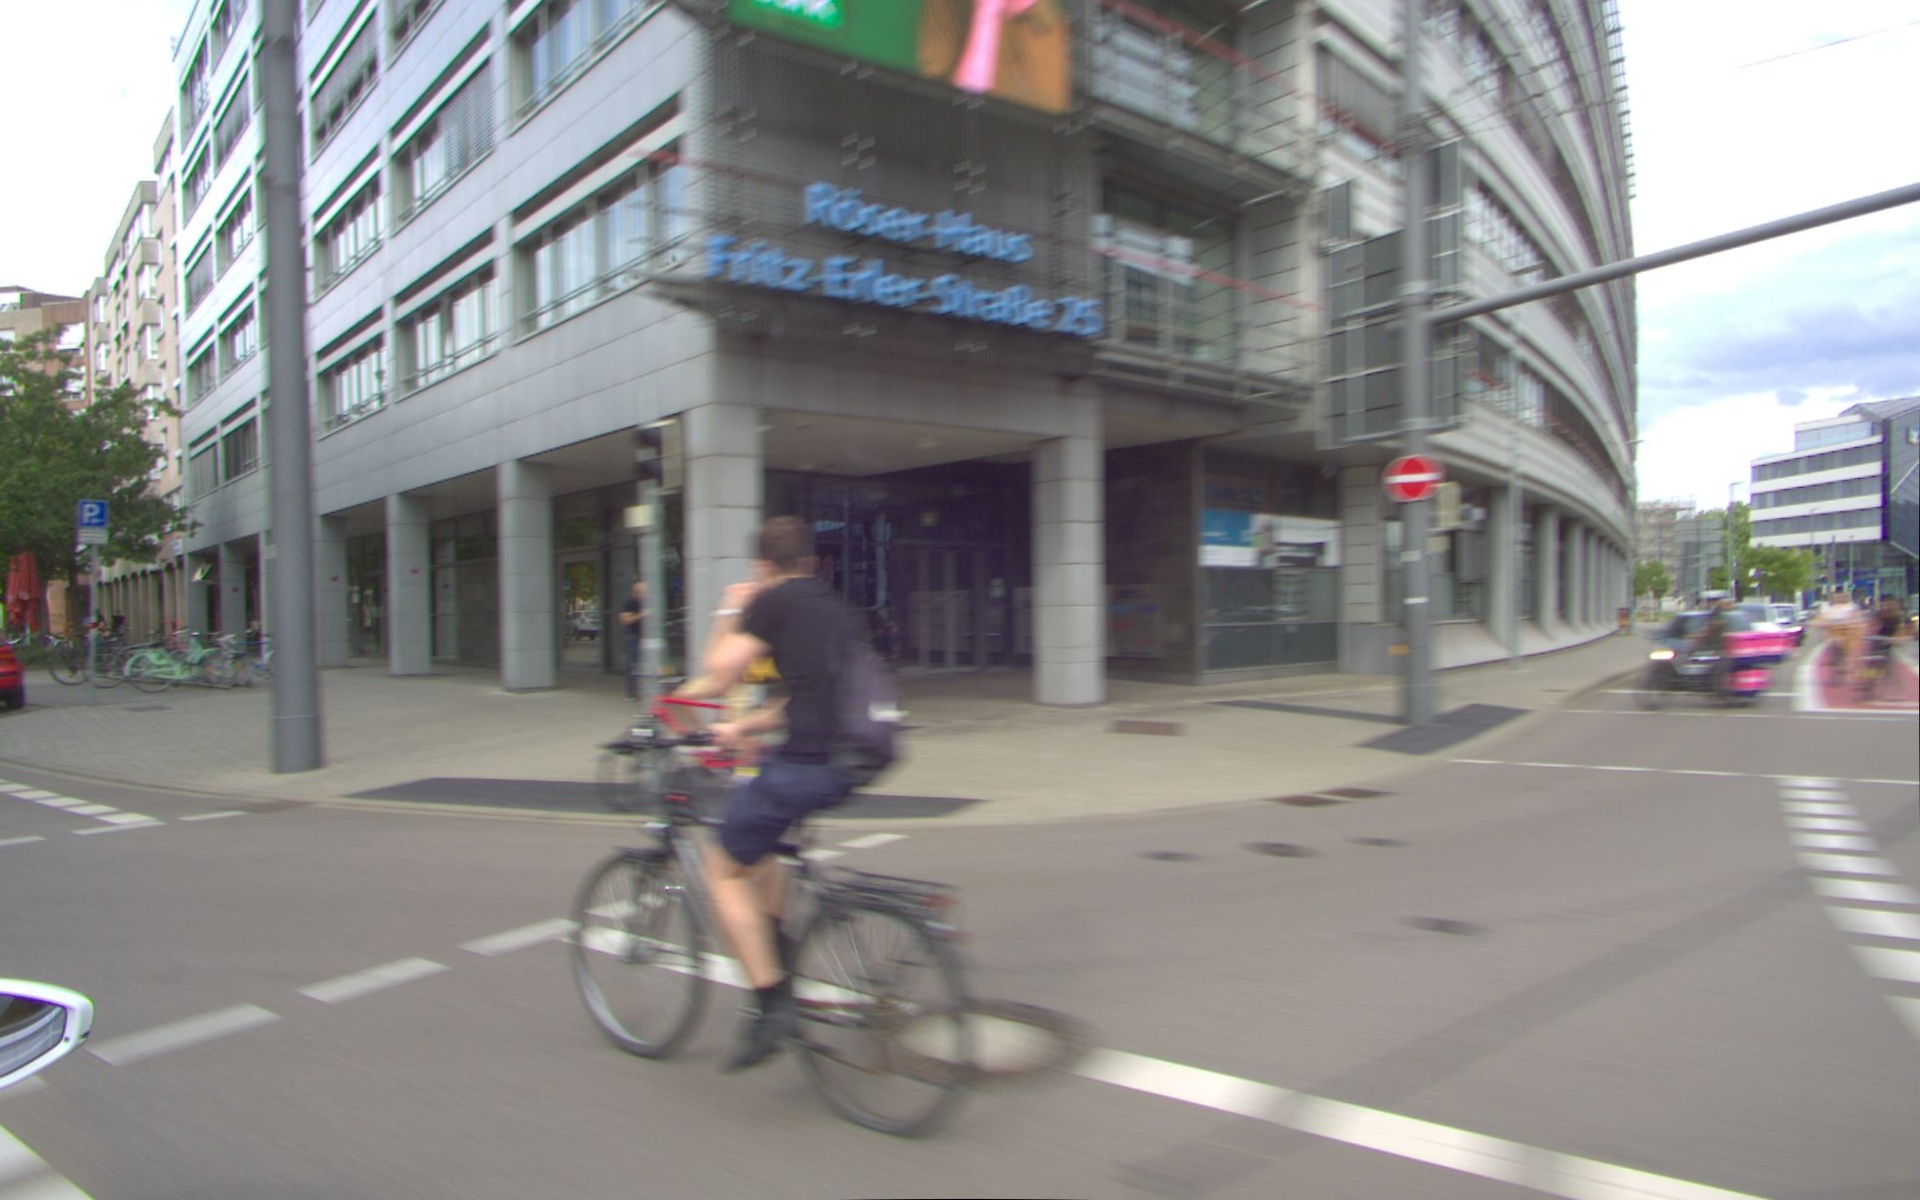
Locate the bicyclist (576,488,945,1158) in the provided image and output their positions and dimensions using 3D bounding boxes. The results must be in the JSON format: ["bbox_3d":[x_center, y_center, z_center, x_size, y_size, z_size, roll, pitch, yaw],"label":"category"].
[{"bbox_3d":[-0.640,0.600,3.193,1.020,1.792,0.588,0,1,33],"label":"bicyclist"}]

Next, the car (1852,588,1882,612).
[{"bbox_3d":[79.610,0.033,87.960,1.802,2.046,3.968,0,0,40],"label":"car"}]

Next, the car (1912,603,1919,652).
[{"bbox_3d":[31.598,0.850,31.719,1.802,1.552,3.968,-2,-1,40],"label":"car"}]

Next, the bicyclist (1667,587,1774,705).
[{"bbox_3d":[11.395,0.682,15.032,1.015,1.696,0.661,-2,-1,2],"label":"bicyclist"}]

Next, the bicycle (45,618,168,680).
[{"bbox_3d":[-17.971,1.001,21.123,0.474,1.213,1.900,0,1,40],"label":"bicycle"}]

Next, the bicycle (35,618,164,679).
[{"bbox_3d":[-18.390,1.001,21.444,0.474,1.213,2.045,0,1,40],"label":"bicycle"}]

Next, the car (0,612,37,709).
[{"bbox_3d":[-16.598,0.968,16.157,4.198,1.452,1.715,0,3,37],"label":"car"}]

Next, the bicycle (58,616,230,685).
[{"bbox_3d":[-16.439,0.985,20.267,0.646,1.275,2.626,0,0,33],"label":"bicycle"}]

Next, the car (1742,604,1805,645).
[{"bbox_3d":[31.604,0.918,38.854,1.769,1.480,3.968,-2,-1,40],"label":"car"}]

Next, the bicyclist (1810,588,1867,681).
[{"bbox_3d":[16.398,0.637,18.689,0.737,1.688,0.972,-3,-1,43],"label":"bicyclist"}]

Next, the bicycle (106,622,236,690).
[{"bbox_3d":[-14.621,1.011,18.614,0.485,1.154,1.848,0,1,26],"label":"bicycle"}]

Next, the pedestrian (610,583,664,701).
[{"bbox_3d":[-4.939,0.619,15.321,0.636,1.750,0.542,2,2,44],"label":"pedestrian"}]

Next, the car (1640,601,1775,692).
[{"bbox_3d":[14.406,0.823,19.213,1.802,1.552,3.968,-2,-1,40],"label":"car"}]

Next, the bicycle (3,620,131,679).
[{"bbox_3d":[-19.648,1.068,22.069,0.474,1.213,2.045,0,1,40],"label":"bicycle"}]

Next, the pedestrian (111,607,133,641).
[{"bbox_3d":[-39.349,1.113,47.026,0.705,1.576,0.791,-1,1,-44],"label":"pedestrian"}]

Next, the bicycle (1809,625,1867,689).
[{"bbox_3d":[16.426,1.045,18.705,0.742,1.070,2.202,-3,-2,42],"label":"bicycle"}]

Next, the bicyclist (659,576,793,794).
[{"bbox_3d":[-2.047,0.692,8.759,0.905,1.788,0.713,-1,1,-40],"label":"bicyclist"}]

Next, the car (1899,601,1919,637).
[{"bbox_3d":[43.767,0.814,45.184,1.802,1.552,3.968,-2,-1,40],"label":"car"}]

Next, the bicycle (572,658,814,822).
[{"bbox_3d":[-2.253,1.130,8.599,1.883,1.154,0.720,-1,1,-40],"label":"bicycle"}]

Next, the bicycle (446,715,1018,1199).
[{"bbox_3d":[-0.848,1.048,3.341,2.061,1.154,0.592,0,1,33],"label":"bicycle"}]

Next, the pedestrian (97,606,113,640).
[{"bbox_3d":[-39.756,1.048,46.578,0.508,1.576,0.468,-1,1,-44],"label":"pedestrian"}]

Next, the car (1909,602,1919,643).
[{"bbox_3d":[39.111,0.852,39.785,1.802,1.552,3.968,-2,-1,40],"label":"car"}]

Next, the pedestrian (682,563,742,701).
[{"bbox_3d":[-3.814,0.474,15.392,0.666,2.041,0.599,4,3,39],"label":"pedestrian"}]

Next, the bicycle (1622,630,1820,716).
[{"bbox_3d":[11.389,1.081,15.030,2.392,1.153,0.661,-2,0,2],"label":"bicycle"}]

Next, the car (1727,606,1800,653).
[{"bbox_3d":[27.572,0.990,34.312,1.802,1.480,3.968,-2,-1,40],"label":"car"}]

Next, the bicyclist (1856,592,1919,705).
[{"bbox_3d":[14.434,0.737,15.586,0.668,1.688,0.972,-3,-1,43],"label":"bicyclist"}]

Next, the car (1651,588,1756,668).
[{"bbox_3d":[18.242,0.641,24.519,1.802,1.784,3.968,-1,0,40],"label":"car"}]

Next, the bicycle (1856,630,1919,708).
[{"bbox_3d":[14.419,1.046,15.560,0.676,1.070,2.187,-3,-2,42],"label":"bicycle"}]

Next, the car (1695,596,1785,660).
[{"bbox_3d":[21.659,0.726,27.741,1.802,1.642,4.134,-1,0,40],"label":"car"}]

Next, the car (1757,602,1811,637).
[{"bbox_3d":[36.893,0.852,44.815,1.769,1.480,3.968,-2,-1,40],"label":"car"}]

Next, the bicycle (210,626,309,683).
[{"bbox_3d":[-13.622,1.049,19.516,0.416,1.000,1.556,1,1,28],"label":"bicycle"}]

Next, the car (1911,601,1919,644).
[{"bbox_3d":[34.961,0.764,35.333,1.769,1.480,3.968,-2,-1,40],"label":"car"}]
